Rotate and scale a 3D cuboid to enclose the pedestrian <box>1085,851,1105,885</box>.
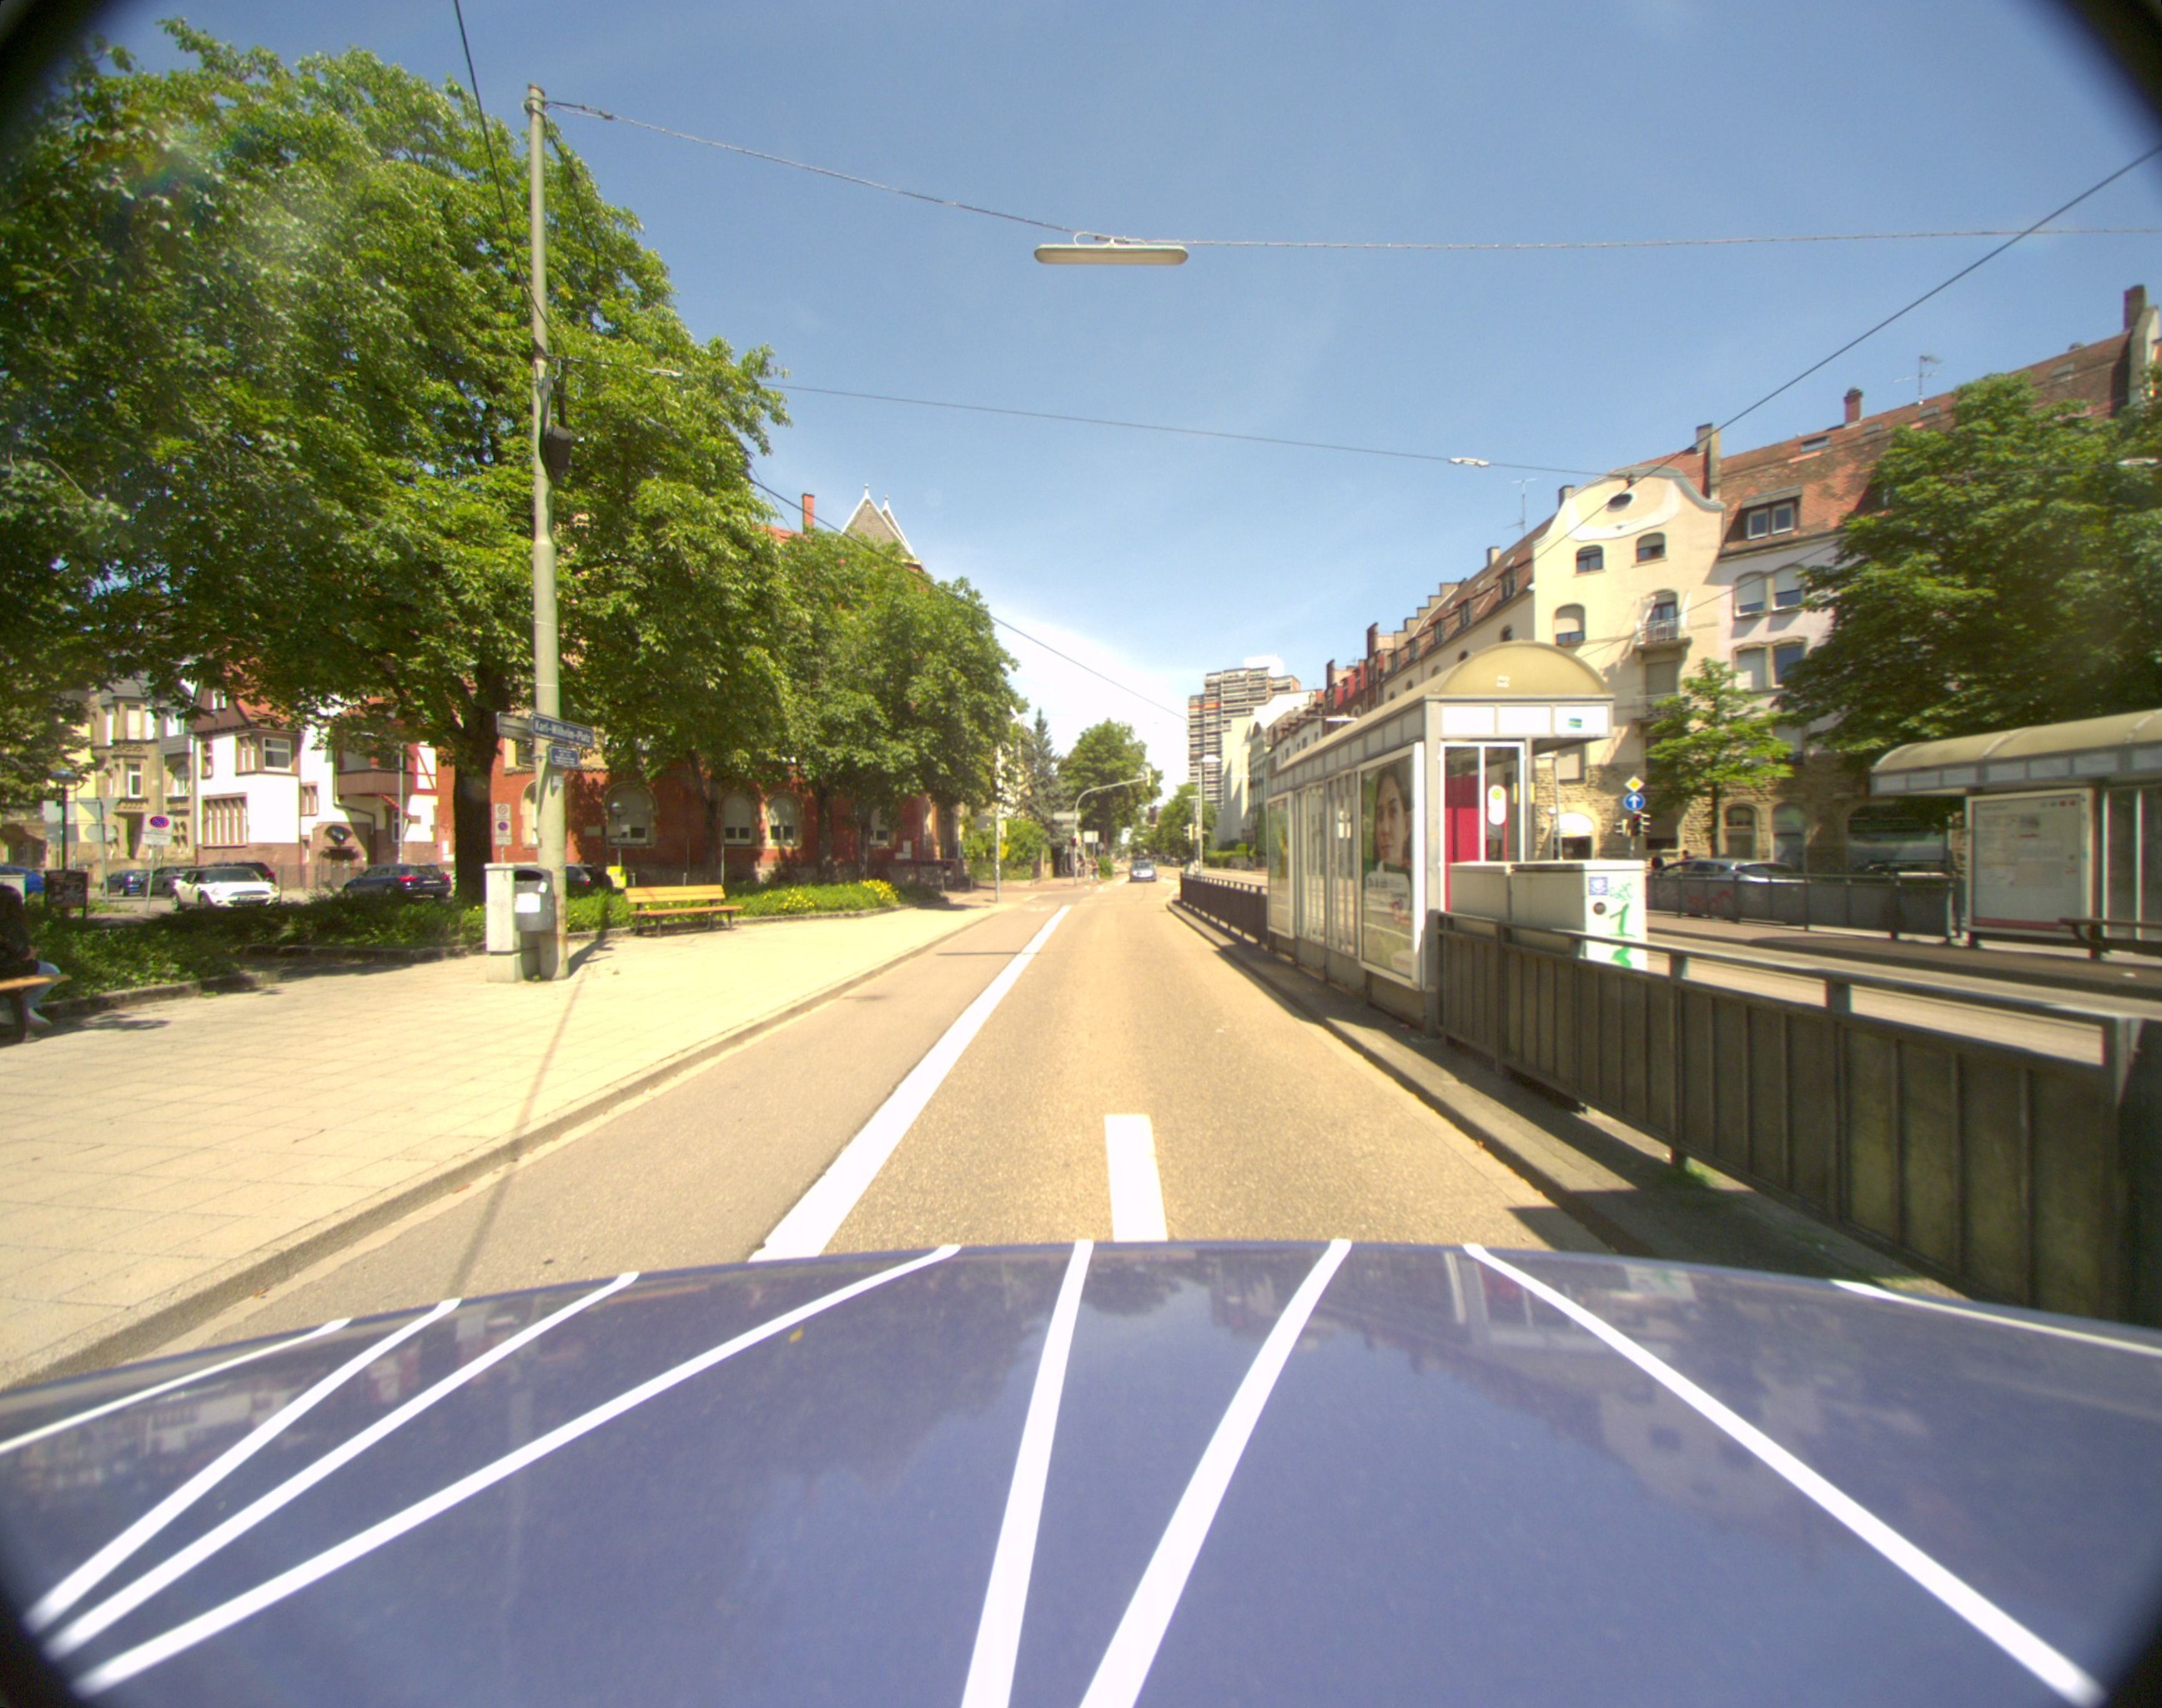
[{"bbox_3d":[0.733,0.728,40.350,0.840,1.813,0.672,0,1,-22],"label":"pedestrian"}]

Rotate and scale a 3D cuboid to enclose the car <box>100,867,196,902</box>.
[{"bbox_3d":[-48.425,1.570,39.427,4.299,1.608,1.941,-2,1,23],"label":"car"}]

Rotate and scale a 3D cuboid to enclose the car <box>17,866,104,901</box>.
[{"bbox_3d":[-59.181,1.707,44.072,4.299,1.862,1.941,-2,1,23],"label":"car"}]

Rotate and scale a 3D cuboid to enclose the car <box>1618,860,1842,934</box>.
[{"bbox_3d":[14.835,0.909,17.718,1.812,1.386,3.999,-2,1,1],"label":"car"}]

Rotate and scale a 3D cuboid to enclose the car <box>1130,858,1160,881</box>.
[{"bbox_3d":[4.279,1.010,51.009,1.895,1.372,4.001,-2,1,5],"label":"car"}]

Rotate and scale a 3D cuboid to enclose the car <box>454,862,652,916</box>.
[{"bbox_3d":[-17.575,1.127,25.584,5.037,1.474,1.936,-2,1,-13],"label":"car"}]

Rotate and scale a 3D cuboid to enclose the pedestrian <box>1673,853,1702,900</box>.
[{"bbox_3d":[20.285,0.752,25.417,0.594,1.542,0.474,0,0,-1],"label":"pedestrian"}]

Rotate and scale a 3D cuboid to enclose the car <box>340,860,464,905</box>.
[{"bbox_3d":[-27.046,1.132,30.279,4.299,1.608,1.941,-2,1,23],"label":"car"}]

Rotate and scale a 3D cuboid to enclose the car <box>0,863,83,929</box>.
[{"bbox_3d":[-32.846,1.300,22.019,1.934,1.869,4.315,-2,1,23],"label":"car"}]

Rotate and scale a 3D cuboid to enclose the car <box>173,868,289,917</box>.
[{"bbox_3d":[-27.885,1.237,24.918,3.642,1.497,1.709,-1,-1,28],"label":"car"}]

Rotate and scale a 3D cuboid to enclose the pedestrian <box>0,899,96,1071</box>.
[{"bbox_3d":[-7.746,0.911,5.410,0.566,1.136,0.725,0,1,-16],"label":"pedestrian"}]

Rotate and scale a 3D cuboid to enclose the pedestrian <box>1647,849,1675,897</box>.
[{"bbox_3d":[20.179,0.648,26.435,0.594,1.637,0.474,0,0,1],"label":"pedestrian"}]

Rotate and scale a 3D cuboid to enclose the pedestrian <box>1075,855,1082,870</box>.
[{"bbox_3d":[-0.256,0.903,82.438,0.702,1.645,0.665,0,0,1],"label":"pedestrian"}]

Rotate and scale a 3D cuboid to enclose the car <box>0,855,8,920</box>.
[{"bbox_3d":[-37.662,1.199,23.787,1.934,2.178,4.315,-2,1,23],"label":"car"}]

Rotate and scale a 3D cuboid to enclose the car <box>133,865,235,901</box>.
[{"bbox_3d":[-44.152,1.428,37.405,4.299,1.608,1.941,-2,1,23],"label":"car"}]

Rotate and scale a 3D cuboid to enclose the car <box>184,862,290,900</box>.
[{"bbox_3d":[-39.592,1.273,35.659,4.299,1.608,1.941,-2,1,23],"label":"car"}]

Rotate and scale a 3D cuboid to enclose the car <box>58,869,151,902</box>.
[{"bbox_3d":[-53.026,1.726,41.262,4.299,1.608,1.941,-2,1,23],"label":"car"}]

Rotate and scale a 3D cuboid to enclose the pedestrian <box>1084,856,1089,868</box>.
[{"bbox_3d":[0.883,1.205,114.021,0.686,1.732,0.660,-2,1,3],"label":"pedestrian"}]
